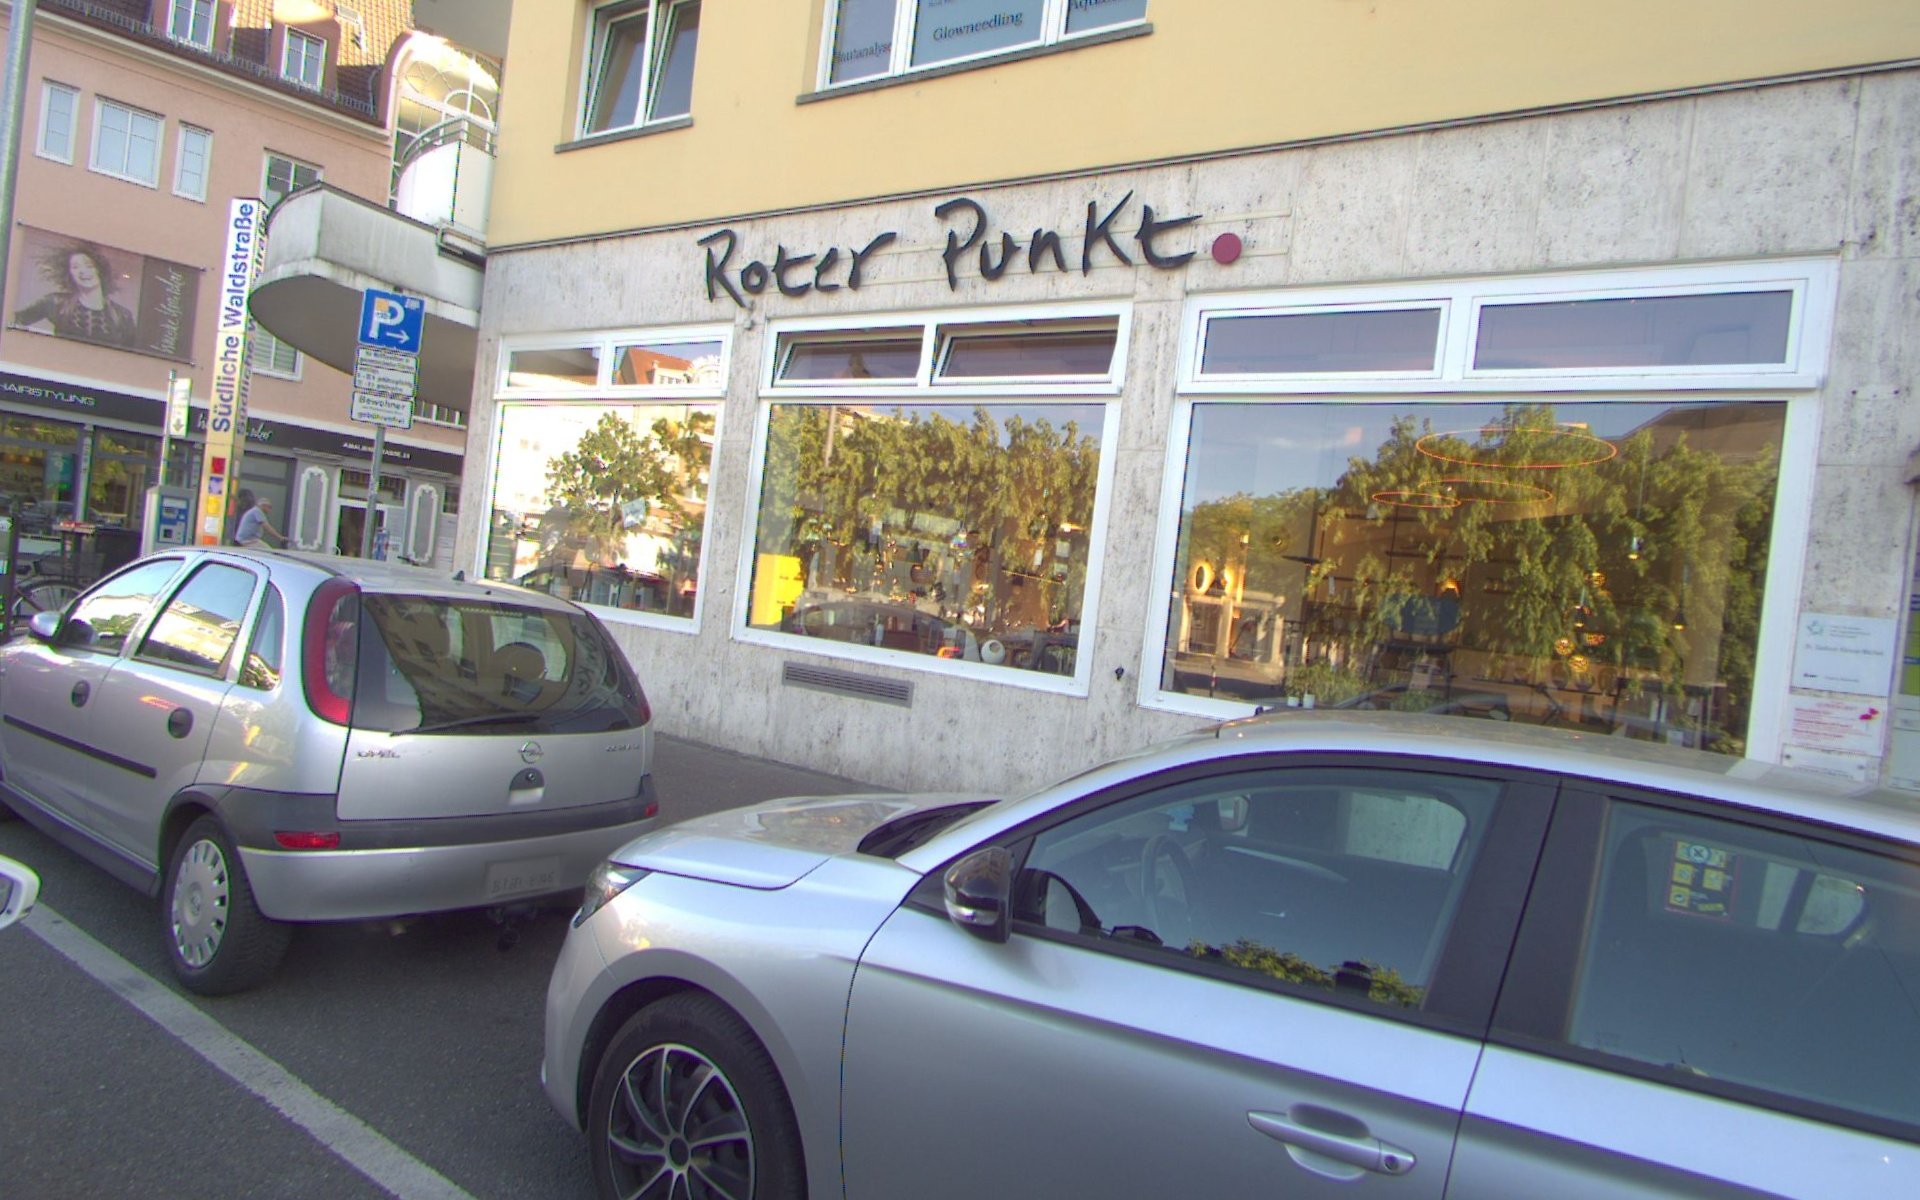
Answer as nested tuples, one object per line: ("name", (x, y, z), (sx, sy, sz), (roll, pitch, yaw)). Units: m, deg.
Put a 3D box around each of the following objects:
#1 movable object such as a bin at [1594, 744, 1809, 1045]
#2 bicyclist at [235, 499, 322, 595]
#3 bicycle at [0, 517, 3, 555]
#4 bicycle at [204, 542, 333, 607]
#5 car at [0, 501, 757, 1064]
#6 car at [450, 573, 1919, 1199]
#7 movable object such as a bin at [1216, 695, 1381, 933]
("movable object such as a bin", (3.325, 1.276, 4.581), (0.609, 1.082, 0.703), (7, 3, 31))
("bicyclist", (-13.096, -1.002, 19.345), (0.620, 1.674, 1.118), (7, 0, 42))
("bicycle", (-9.317, -0.226, 8.533), (0.425, 1.175, 1.629), (7, 1, 30))
("bicycle", (-13.226, -0.470, 19.281), (0.620, 0.956, 1.862), (7, -2, 42))
("car", (-2.935, 0.448, 4.450), (3.822, 1.411, 1.624), (7, -1, 33))
("car", (0.960, 0.922, 2.199), (4.008, 1.444, 1.673), (7, -1, 30))
("movable object such as a bin", (1.858, 1.117, 5.494), (0.609, 1.082, 0.703), (7, 3, 31))
